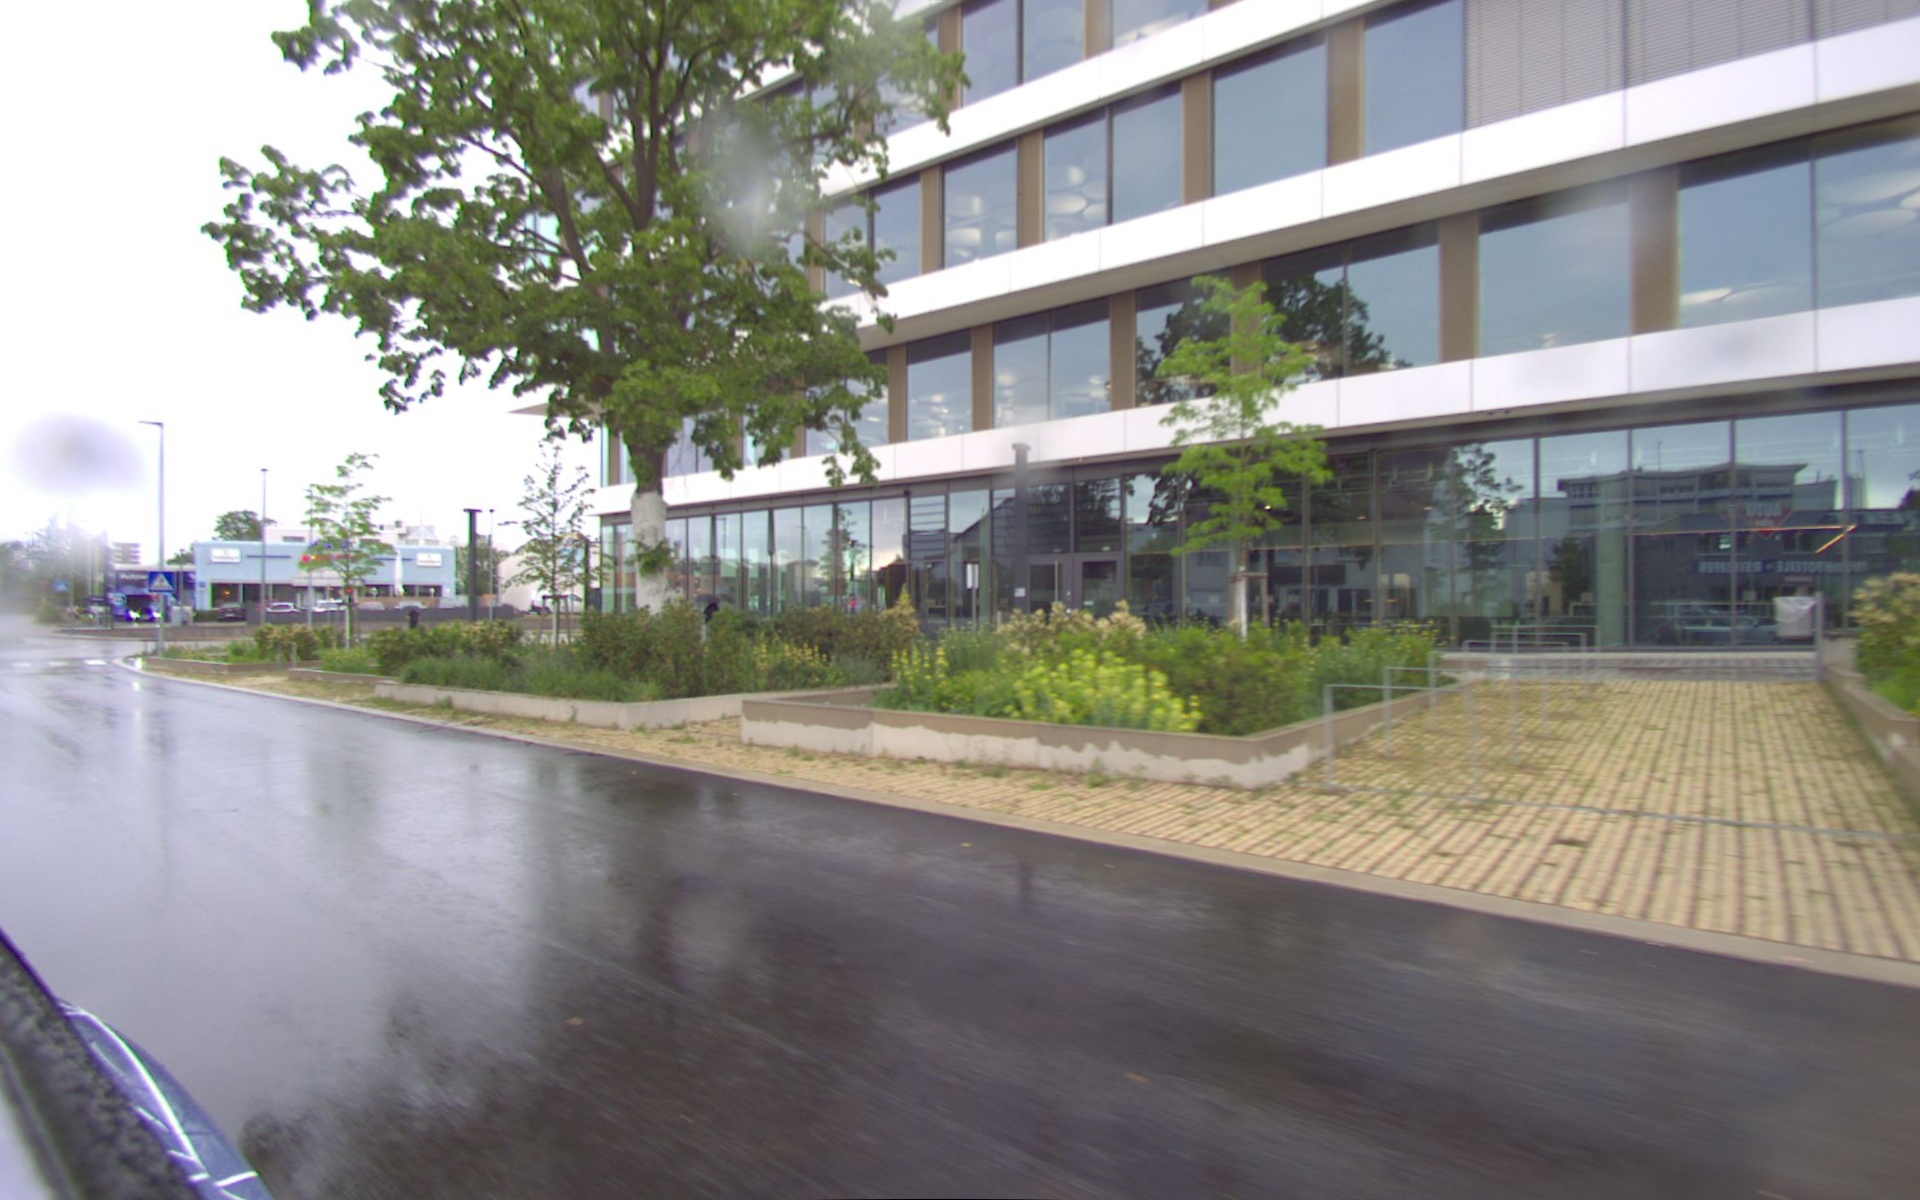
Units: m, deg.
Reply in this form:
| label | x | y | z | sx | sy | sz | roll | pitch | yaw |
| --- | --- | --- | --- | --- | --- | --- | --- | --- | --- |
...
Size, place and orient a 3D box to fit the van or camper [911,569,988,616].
| label | x | y | z | sx | sy | sz | roll | pitch | yaw |
| --- | --- | --- | --- | --- | --- | --- | --- | --- | --- |
| van or camper | -0.714 | -0.544 | 71.797 | 5.015 | 3.111 | 2.006 | -3 | 0 | -30 |

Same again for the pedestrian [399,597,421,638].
| label | x | y | z | sx | sy | sz | roll | pitch | yaw |
| --- | --- | --- | --- | --- | --- | --- | --- | --- | --- |
| pedestrian | -27.910 | 0.901 | 51.318 | 0.878 | 2.029 | 0.934 | -1 | 0 | -33 |

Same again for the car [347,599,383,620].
| label | x | y | z | sx | sy | sz | roll | pitch | yaw |
| --- | --- | --- | --- | --- | --- | --- | --- | --- | --- |
| car | -41.278 | 0.650 | 70.273 | 1.855 | 1.305 | 4.013 | -4 | 1 | -27 |

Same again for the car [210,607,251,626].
| label | x | y | z | sx | sy | sz | roll | pitch | yaw |
| --- | --- | --- | --- | --- | --- | --- | --- | --- | --- |
| car | -55.427 | 1.236 | 76.909 | 1.855 | 1.305 | 4.013 | -4 | 1 | -27 |

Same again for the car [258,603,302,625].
| label | x | y | z | sx | sy | sz | roll | pitch | yaw |
| --- | --- | --- | --- | --- | --- | --- | --- | --- | --- |
| car | -45.426 | 0.924 | 67.669 | 1.855 | 1.305 | 4.013 | -4 | 1 | -27 |

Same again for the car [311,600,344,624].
| label | x | y | z | sx | sy | sz | roll | pitch | yaw |
| --- | --- | --- | --- | --- | --- | --- | --- | --- | --- |
| car | -43.346 | 0.799 | 69.447 | 1.764 | 1.564 | 4.012 | -1 | 0 | -30 |

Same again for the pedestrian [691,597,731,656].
| label | x | y | z | sx | sy | sz | roll | pitch | yaw |
| --- | --- | --- | --- | --- | --- | --- | --- | --- | --- |
| pedestrian | -7.542 | 0.777 | 30.655 | 0.956 | 1.716 | 0.716 | 1 | 4 | 42 |

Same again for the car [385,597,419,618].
| label | x | y | z | sx | sy | sz | roll | pitch | yaw |
| --- | --- | --- | --- | --- | --- | --- | --- | --- | --- |
| car | -39.266 | 0.537 | 71.271 | 1.855 | 1.305 | 4.013 | -4 | 1 | -27 |

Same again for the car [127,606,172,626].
| label | x | y | z | sx | sy | sz | roll | pitch | yaw |
| --- | --- | --- | --- | --- | --- | --- | --- | --- | --- |
| car | -66.578 | 1.286 | 83.202 | 1.888 | 1.541 | 4.013 | -3 | 0 | -25 |

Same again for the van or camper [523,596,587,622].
| label | x | y | z | sx | sy | sz | roll | pitch | yaw |
| --- | --- | --- | --- | --- | --- | --- | --- | --- | --- |
| van or camper | -31.055 | 0.670 | 77.613 | 4.307 | 1.774 | 1.894 | -4 | 1 | -27 |

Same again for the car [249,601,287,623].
| label | x | y | z | sx | sy | sz | roll | pitch | yaw |
| --- | --- | --- | --- | --- | --- | --- | --- | --- | --- |
| car | -53.552 | 0.915 | 78.417 | 1.855 | 1.497 | 4.013 | -4 | 1 | -27 |
